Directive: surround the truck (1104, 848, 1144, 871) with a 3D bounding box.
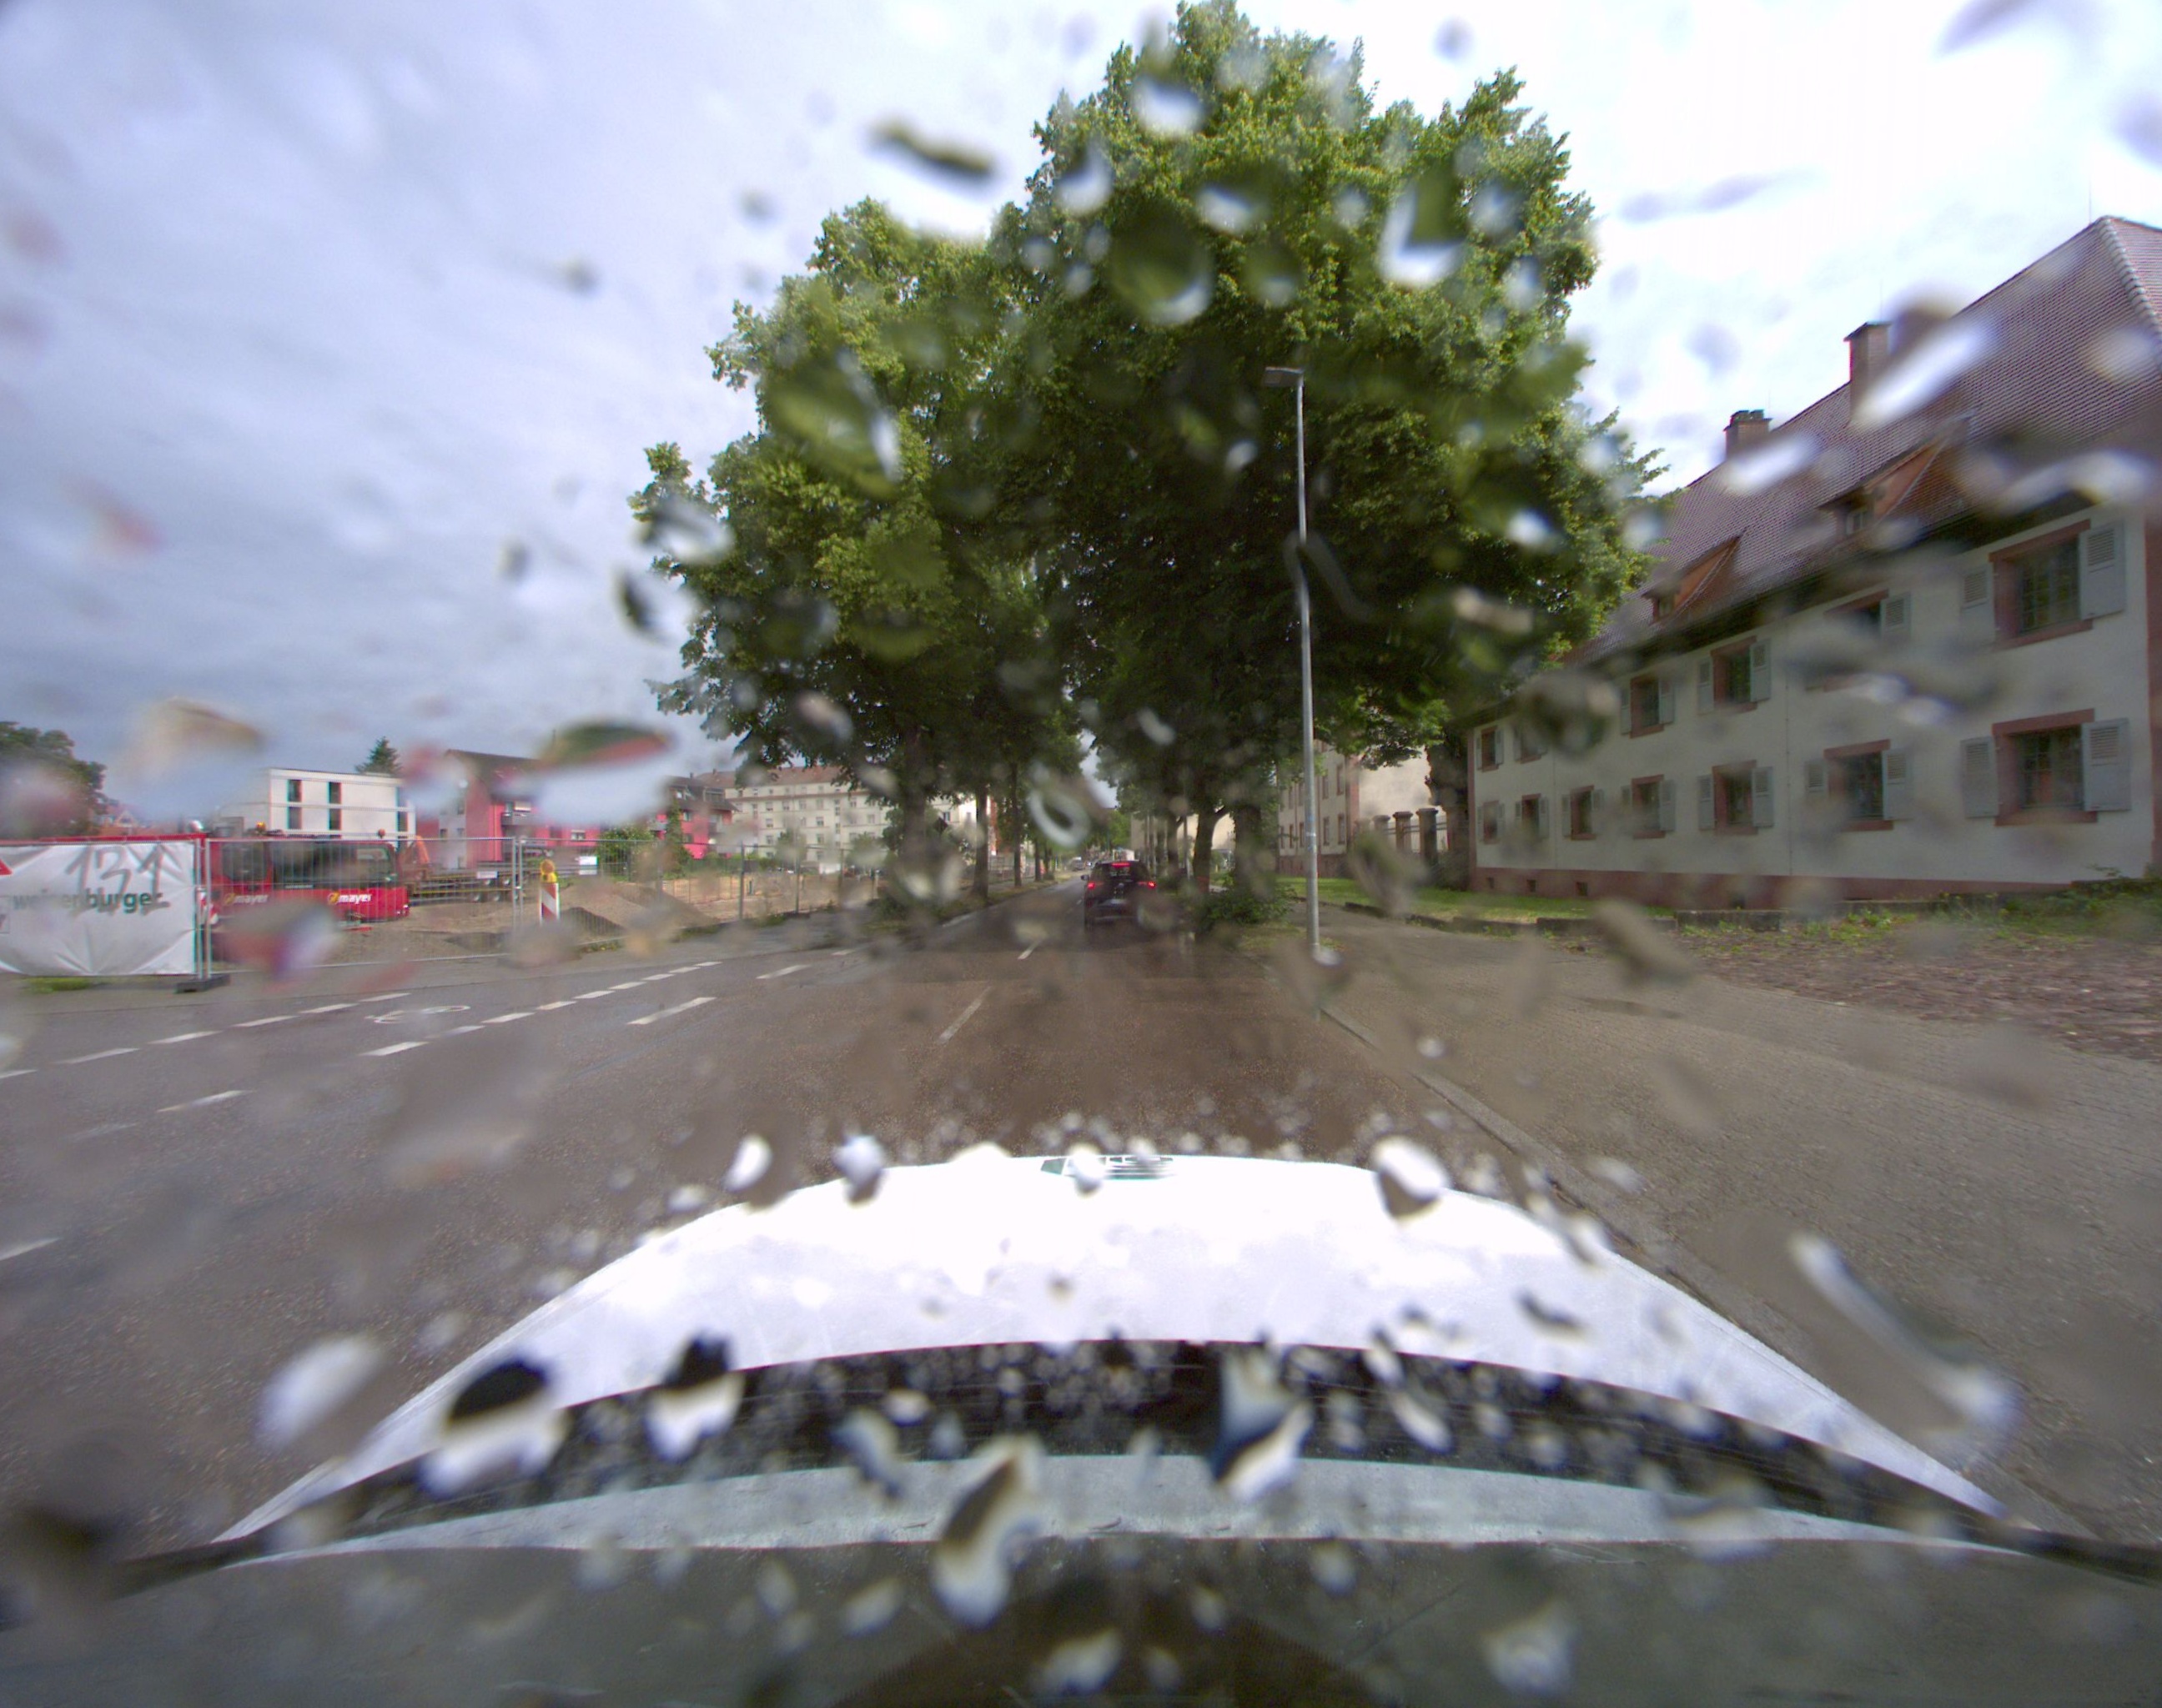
[{"bbox_3d":[5.207,0.620,99.776,2.808,2.656,8.205,-1,0,-12],"label":"truck"}]

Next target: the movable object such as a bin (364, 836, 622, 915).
[{"bbox_3d":[-50.097,1.587,70.738,6.805,6.044,16.845,-1,0,26],"label":"movable object such as a bin"}]

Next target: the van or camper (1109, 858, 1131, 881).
[{"bbox_3d":[3.575,1.377,73.896,1.811,1.948,4.199,0,0,4],"label":"van or camper"}]

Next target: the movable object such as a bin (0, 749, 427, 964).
[{"bbox_3d":[-20.236,0.090,17.581,9.767,4.115,3.370,-1,0,4],"label":"movable object such as a bin"}]

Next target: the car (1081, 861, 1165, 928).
[{"bbox_3d":[1.071,0.942,20.613,1.887,1.522,4.003,-1,-1,3],"label":"car"}]

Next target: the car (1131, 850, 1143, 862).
[{"bbox_3d":[10.201,0.387,147.976,1.985,2.014,4.003,-2,-2,4],"label":"car"}]

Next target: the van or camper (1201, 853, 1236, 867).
[{"bbox_3d":[20.148,0.844,119.328,4.854,1.925,2.133,-1,0,3],"label":"van or camper"}]

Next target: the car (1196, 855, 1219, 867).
[{"bbox_3d":[20.026,1.107,129.078,3.385,1.781,1.765,-4,-1,11],"label":"car"}]

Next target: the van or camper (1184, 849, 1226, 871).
[{"bbox_3d":[15.534,0.804,102.297,5.014,2.596,2.168,-2,-1,1],"label":"van or camper"}]

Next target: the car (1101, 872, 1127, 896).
[{"bbox_3d":[2.607,2.274,63.266,1.671,1.708,3.915,-4,-1,6],"label":"car"}]

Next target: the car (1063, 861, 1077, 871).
[{"bbox_3d":[-1.709,1.877,128.667,1.582,1.512,3.740,-4,-1,8],"label":"car"}]

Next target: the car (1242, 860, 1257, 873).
[{"bbox_3d":[23.807,1.752,115.027,1.732,1.684,3.879,-4,-1,9],"label":"car"}]
